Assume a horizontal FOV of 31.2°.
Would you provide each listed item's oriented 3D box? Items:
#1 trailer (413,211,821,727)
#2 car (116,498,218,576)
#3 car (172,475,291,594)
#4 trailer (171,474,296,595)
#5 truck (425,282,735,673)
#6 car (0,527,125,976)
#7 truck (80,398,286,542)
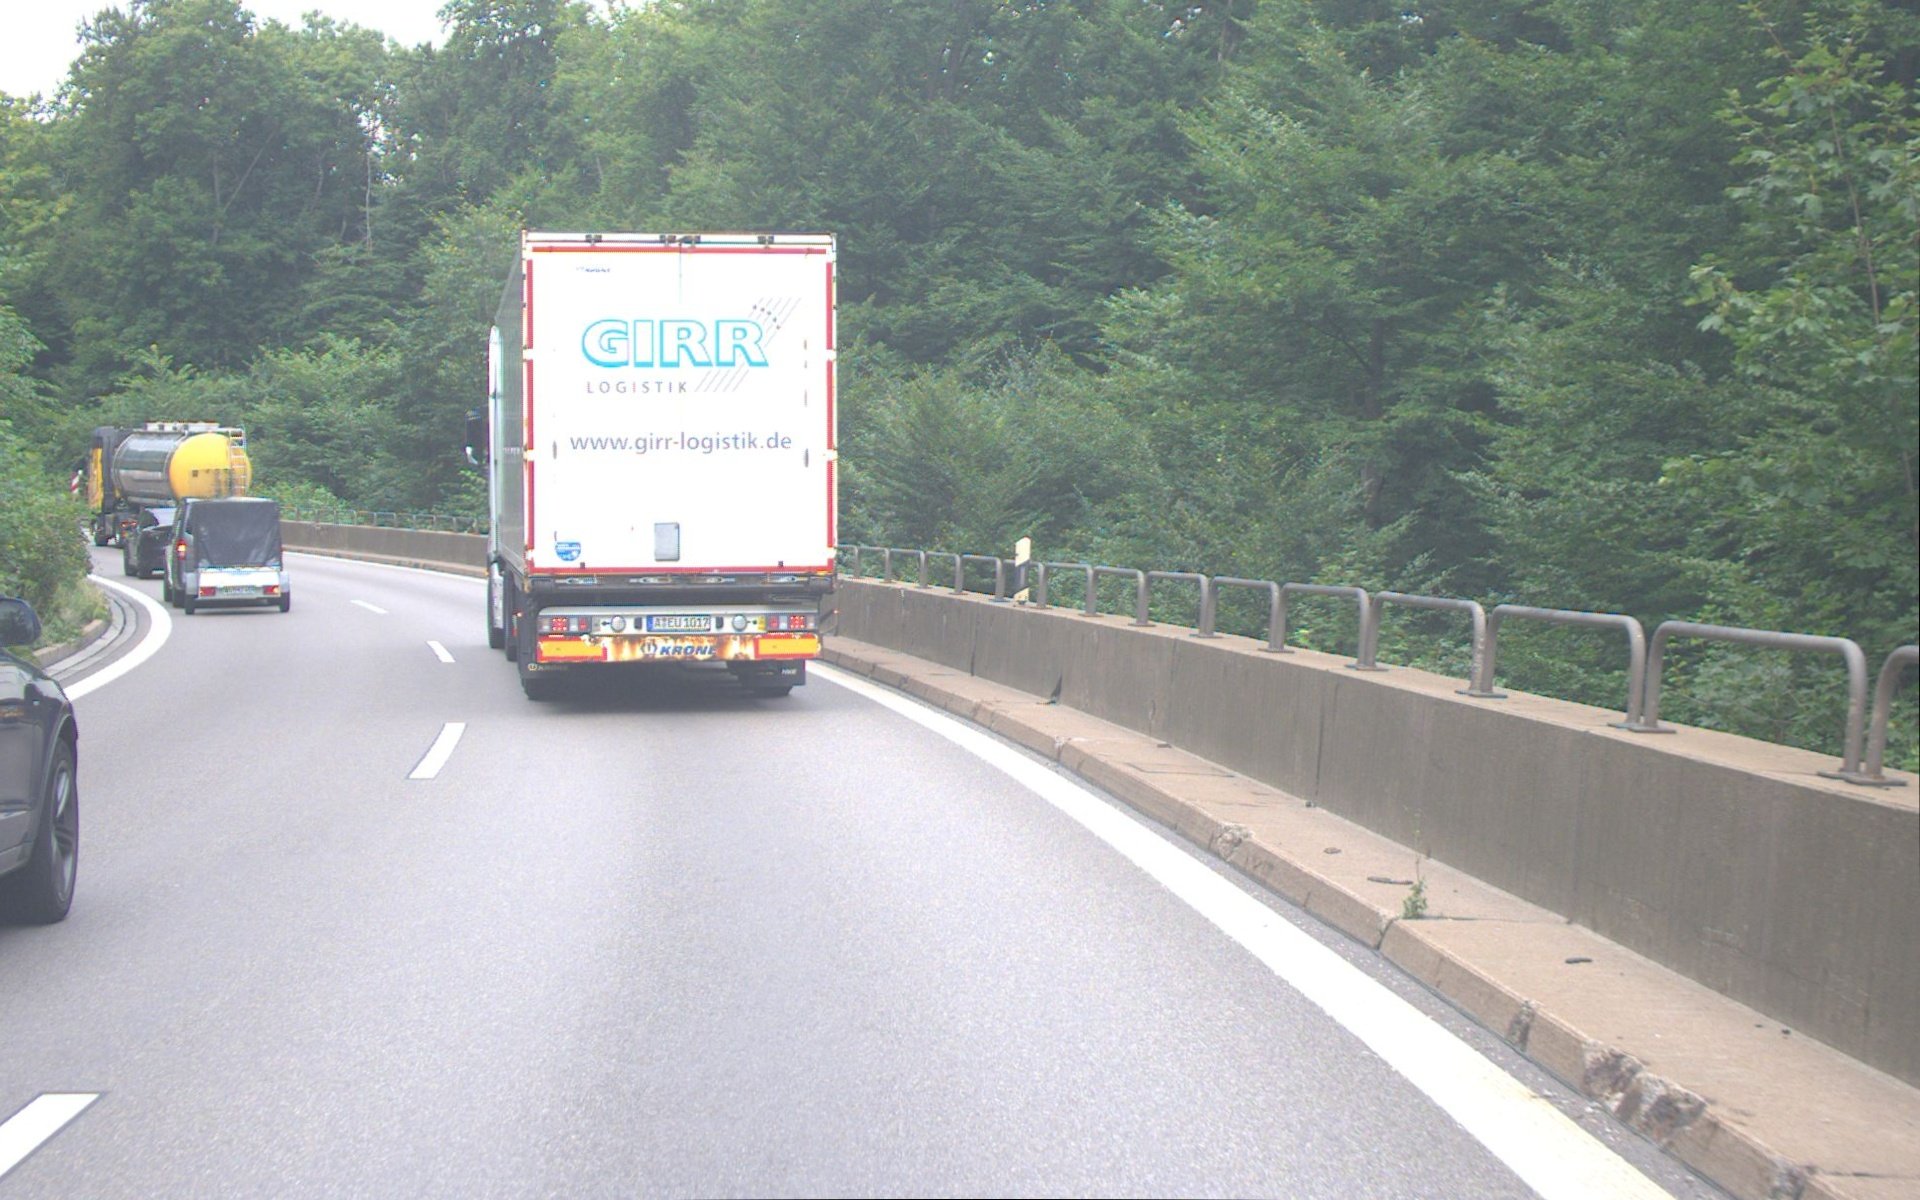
[{"bbox_3d":[-3.595,-1.343,33.632,3.057,3.972,12.141,3,3,-8],"label":"trailer"},{"bbox_3d":[-18.054,-1.427,78.165,1.993,1.711,4.001,0,1,-17],"label":"car"},{"bbox_3d":[-13.241,-1.163,62.321,1.993,2.007,5.542,1,0,-13],"label":"car"},{"bbox_3d":[-12.248,-1.087,57.938,1.970,1.933,3.431,1,0,-12],"label":"trailer"},{"bbox_3d":[-4.524,-1.468,39.981,3.057,3.972,7.190,3,2,-8],"label":"truck"},{"bbox_3d":[-4.285,0.483,11.196,1.971,1.587,5.586,3,0,-3],"label":"car"},{"bbox_3d":[-23.320,-3.764,102.489,3.057,3.973,13.701,0,1,-25],"label":"truck"}]
